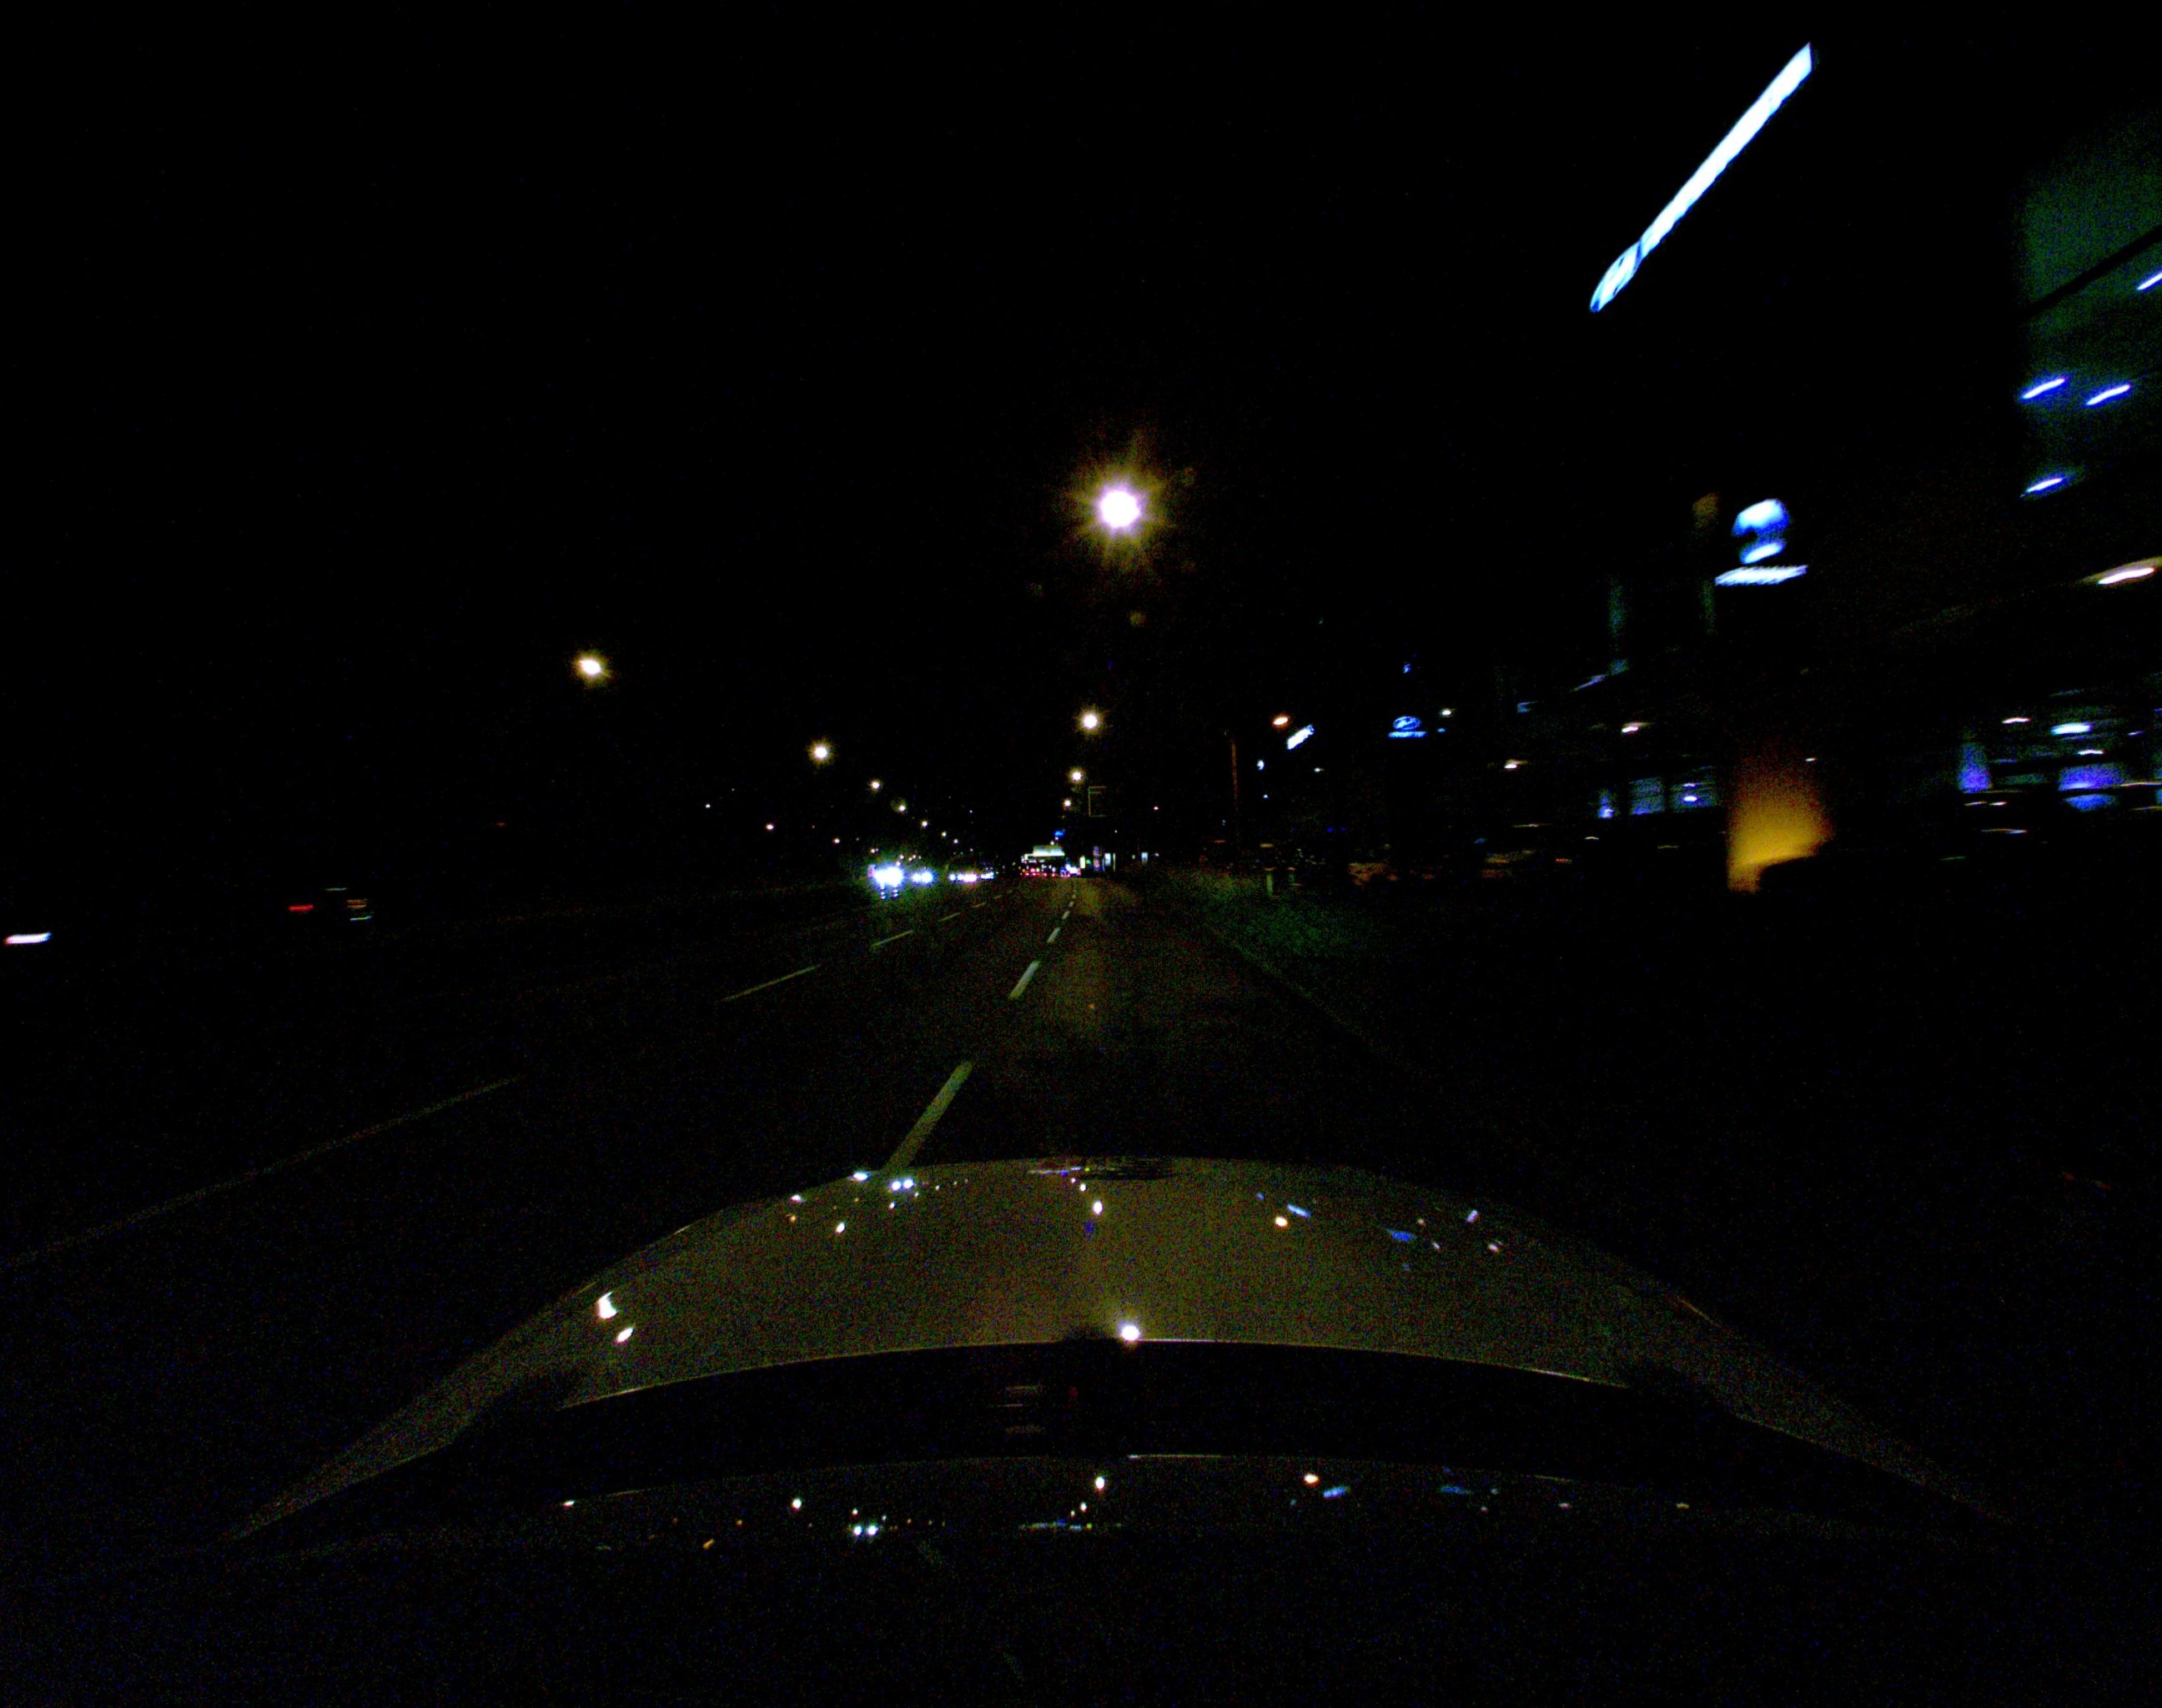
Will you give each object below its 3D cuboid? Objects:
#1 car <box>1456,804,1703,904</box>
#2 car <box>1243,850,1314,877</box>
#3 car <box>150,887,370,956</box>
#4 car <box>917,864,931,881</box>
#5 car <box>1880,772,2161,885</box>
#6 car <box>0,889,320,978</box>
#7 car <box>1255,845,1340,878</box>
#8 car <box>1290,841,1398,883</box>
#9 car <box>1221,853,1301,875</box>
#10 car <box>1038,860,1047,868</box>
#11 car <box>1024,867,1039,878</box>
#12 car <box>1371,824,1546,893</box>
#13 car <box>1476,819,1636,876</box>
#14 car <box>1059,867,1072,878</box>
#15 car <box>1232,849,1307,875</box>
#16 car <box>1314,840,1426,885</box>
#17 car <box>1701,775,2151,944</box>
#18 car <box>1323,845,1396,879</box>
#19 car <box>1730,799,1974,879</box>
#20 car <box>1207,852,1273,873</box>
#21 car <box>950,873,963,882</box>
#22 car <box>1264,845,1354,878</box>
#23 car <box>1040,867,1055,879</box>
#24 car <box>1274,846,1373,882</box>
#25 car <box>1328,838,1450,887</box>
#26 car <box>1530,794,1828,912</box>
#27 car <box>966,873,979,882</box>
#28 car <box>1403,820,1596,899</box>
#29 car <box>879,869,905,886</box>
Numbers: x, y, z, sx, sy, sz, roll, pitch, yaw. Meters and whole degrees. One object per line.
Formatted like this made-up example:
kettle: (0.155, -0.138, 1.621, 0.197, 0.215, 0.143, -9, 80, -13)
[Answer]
car: (11.095, -0.023, 18.262, 4.462, 1.687, 1.993, -6, 0, -11)
car: (11.120, 0.554, 45.975, 3.617, 1.433, 1.667, -1, -1, -23)
car: (-21.086, 1.669, 21.182, 1.654, 1.517, 3.912, -1, -1, 2)
car: (-26.746, 3.151, 138.704, 2.147, 2.671, 6.932, -4, -1, -12)
car: (16.091, -0.429, 13.066, 1.729, 1.510, 4.393, -4, -2, -39)
car: (-18.317, 1.506, 16.530, 1.779, 1.497, 4.173, -1, -2, 0)
car: (11.486, 0.378, 43.258, 4.000, 1.470, 1.821, -3, 0, -19)
car: (11.238, 0.337, 34.866, 4.031, 1.373, 1.816, -5, 0, -16)
car: (11.346, 0.605, 51.315, 4.651, 1.264, 1.932, -1, 0, -25)
car: (-9.435, 2.488, 198.191, 1.881, 1.860, 3.999, -1, -1, 0)
car: (-8.941, 3.318, 147.475, 2.255, 2.014, 4.825, -1, -1, 0)
car: (11.285, 0.143, 24.464, 4.460, 1.547, 1.764, -6, -1, -9)
car: (17.562, -0.172, 30.357, 1.843, 1.918, 4.774, 0, -1, -36)
car: (-3.130, 3.719, 166.559, 2.419, 2.113, 4.825, -1, -1, 0)
car: (11.235, 0.441, 48.620, 3.997, 1.424, 1.898, -1, 0, -18)
car: (11.425, 0.329, 32.288, 3.772, 1.379, 1.709, -6, 0, -13)
car: (10.646, 0.041, 10.417, 4.203, 1.663, 1.954, -4, 0, -11)
car: (16.735, 0.500, 49.081, 1.597, 1.796, 3.824, 0, -4, -40)
car: (16.170, -0.261, 17.227, 1.646, 1.422, 3.463, -2, -2, -36)
car: (10.989, 0.606, 56.336, 4.127, 1.420, 1.868, 0, -1, -14)
car: (-22.753, 4.311, 149.313, 1.990, 1.594, 3.993, -3, -1, -5)
car: (11.348, 0.371, 40.496, 4.003, 1.391, 1.813, -3, 1, -22)
car: (-5.849, 3.329, 144.232, 2.348, 2.129, 4.825, -1, -1, 0)
car: (11.292, 0.471, 38.066, 3.988, 1.381, 1.802, -4, 0, -11)
car: (11.206, 0.297, 29.701, 3.807, 1.453, 1.709, -4, 0, -14)
car: (11.264, -0.040, 15.474, 4.461, 1.810, 1.993, -4, 0, -11)
car: (-18.947, 4.061, 141.926, 1.615, 1.440, 4.336, -3, -1, -1)
car: (10.755, 0.124, 21.037, 4.082, 1.568, 1.848, -6, 0, -11)
car: (-19.905, 2.409, 85.891, 1.773, 1.713, 4.226, -1, -1, 1)
